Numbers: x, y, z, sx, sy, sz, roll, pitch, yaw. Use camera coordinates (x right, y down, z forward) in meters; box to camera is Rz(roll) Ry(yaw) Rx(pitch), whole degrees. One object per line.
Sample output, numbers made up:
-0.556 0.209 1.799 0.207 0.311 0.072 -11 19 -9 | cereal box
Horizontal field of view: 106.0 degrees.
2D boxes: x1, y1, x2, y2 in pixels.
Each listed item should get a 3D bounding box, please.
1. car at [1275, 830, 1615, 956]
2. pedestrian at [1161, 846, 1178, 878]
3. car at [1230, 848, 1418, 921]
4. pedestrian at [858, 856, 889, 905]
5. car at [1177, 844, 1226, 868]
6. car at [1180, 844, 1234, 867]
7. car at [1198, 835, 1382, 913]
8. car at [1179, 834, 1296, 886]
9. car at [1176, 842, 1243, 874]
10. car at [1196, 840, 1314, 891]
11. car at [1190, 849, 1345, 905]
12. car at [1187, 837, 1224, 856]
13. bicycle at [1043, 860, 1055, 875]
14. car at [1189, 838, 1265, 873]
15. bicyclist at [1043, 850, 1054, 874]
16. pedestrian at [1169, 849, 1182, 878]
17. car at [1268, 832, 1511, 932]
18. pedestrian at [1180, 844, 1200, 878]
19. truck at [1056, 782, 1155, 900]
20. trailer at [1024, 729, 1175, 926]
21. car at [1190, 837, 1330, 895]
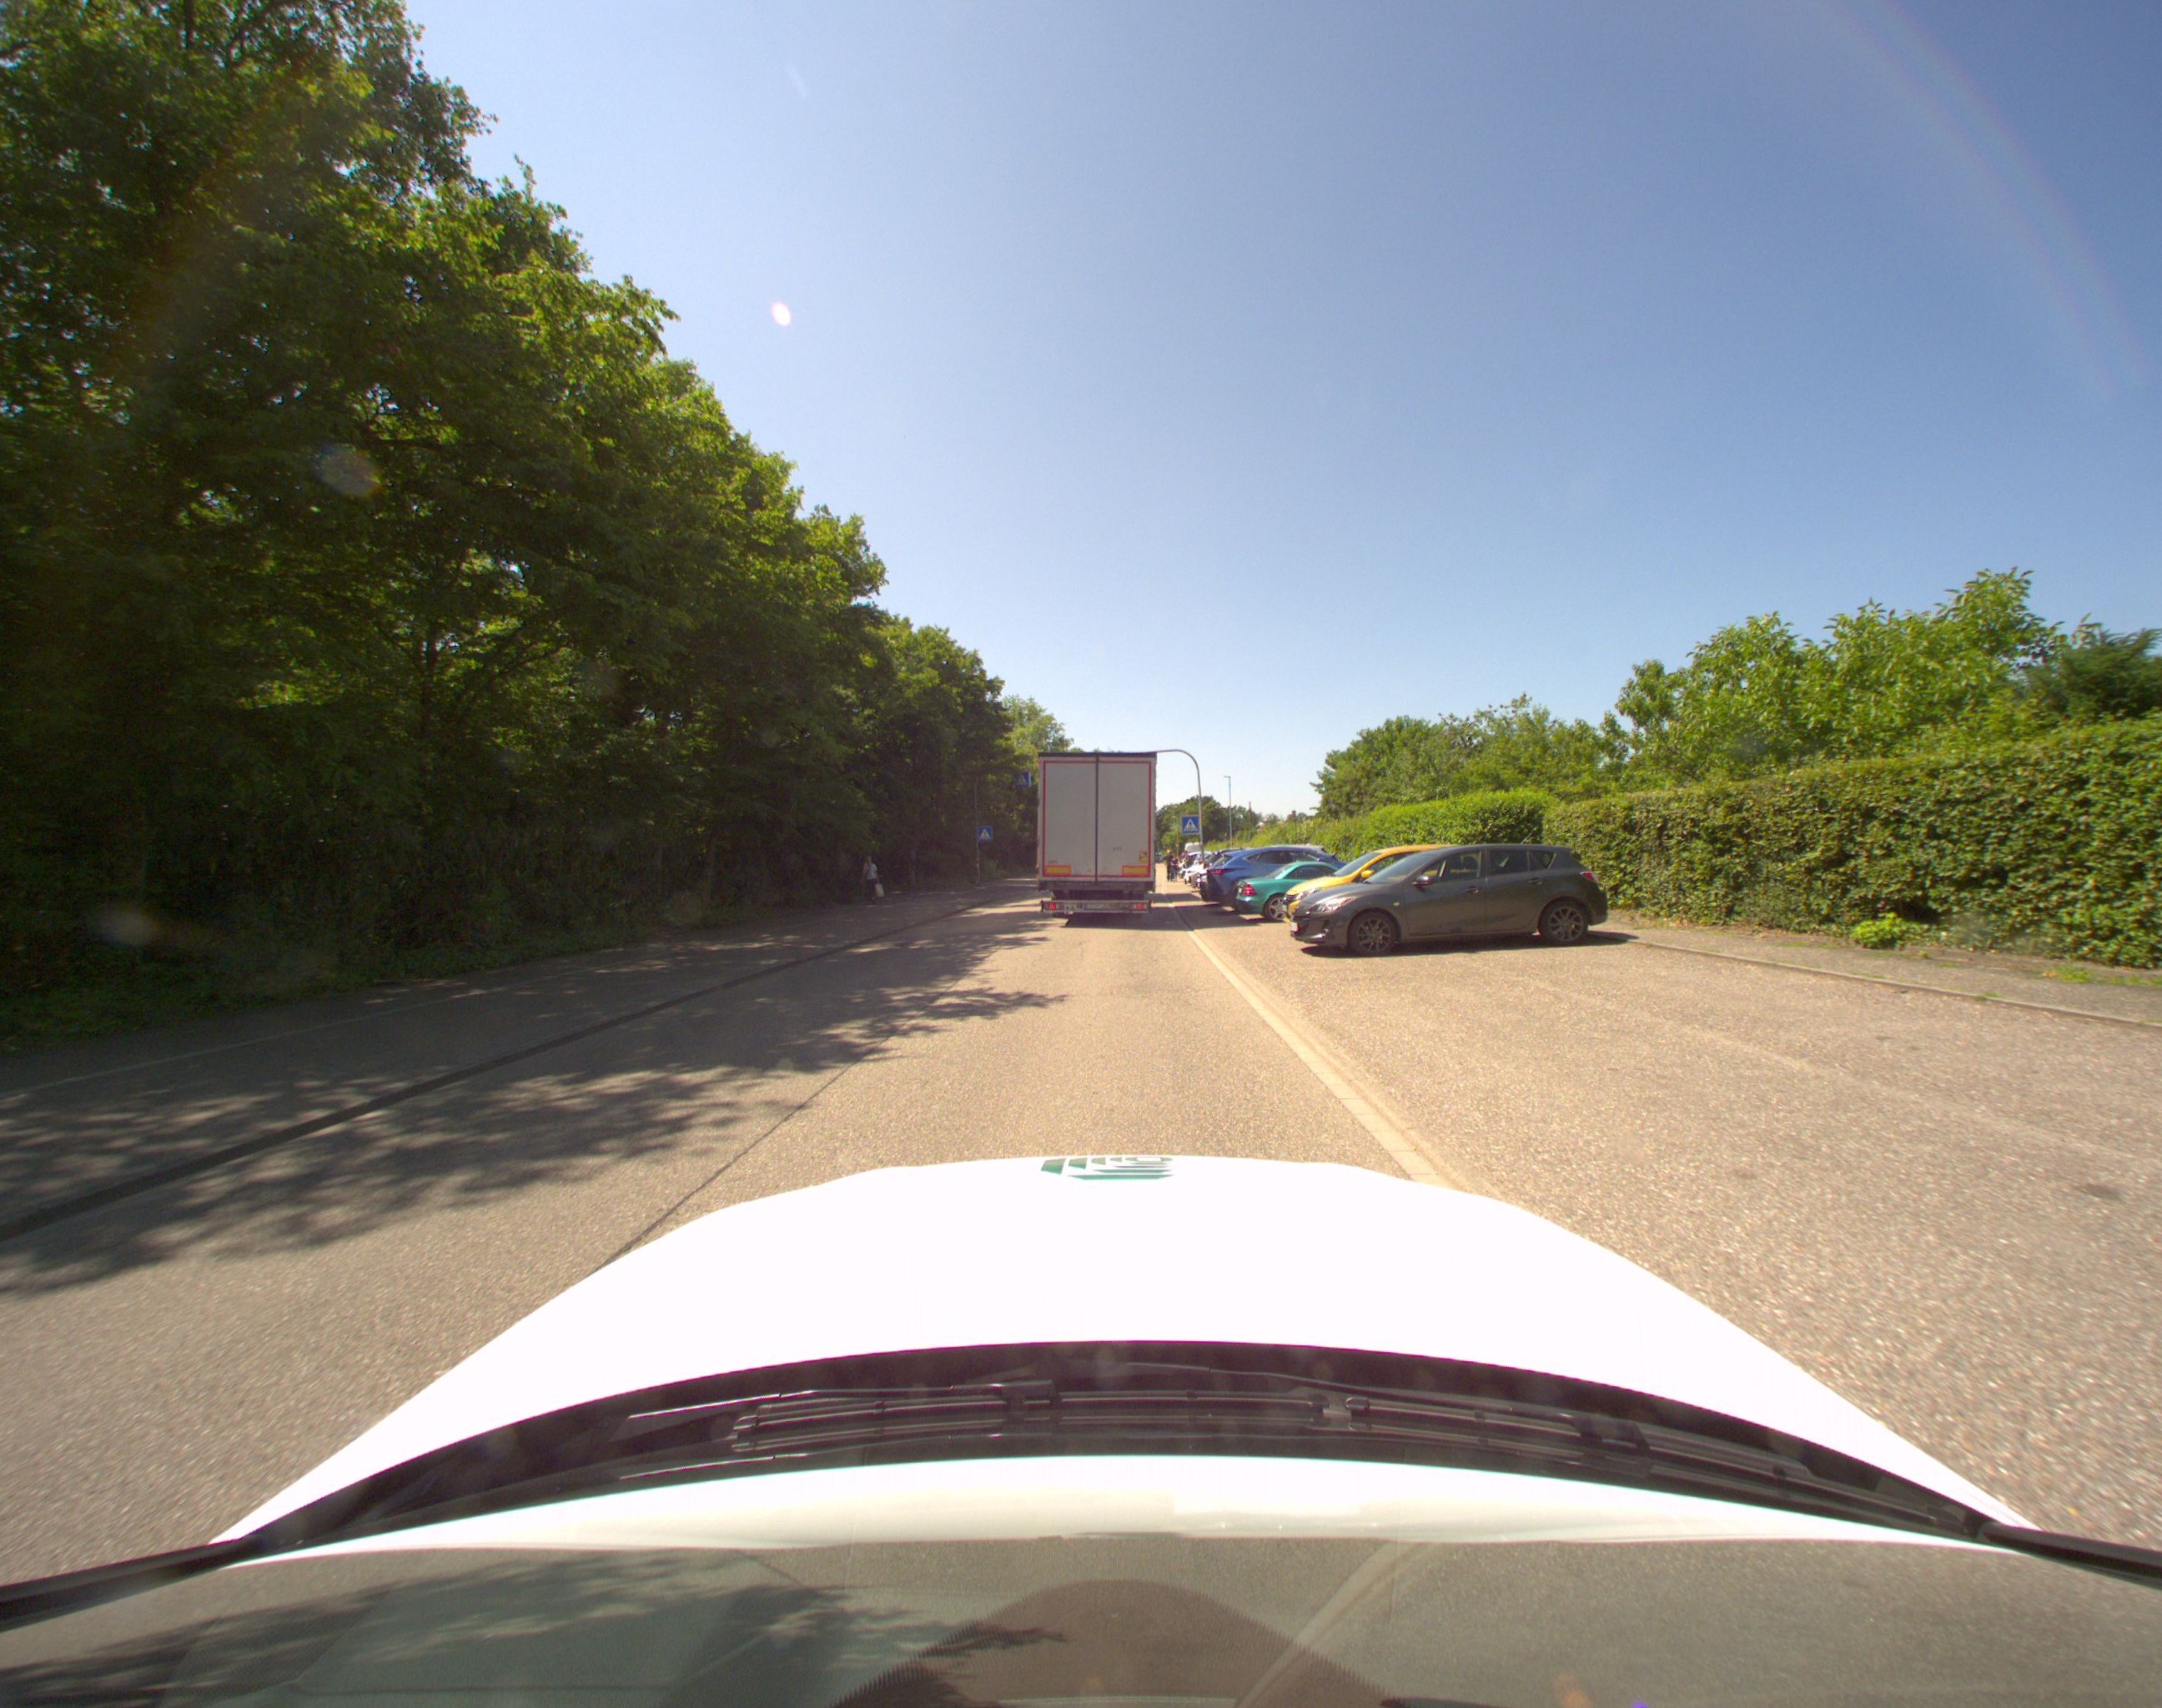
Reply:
5.193 0.538 12.080 4.148 1.495 1.883 -3 -1 2 | car
5.223 0.455 48.125 0.817 1.834 0.794 -5 -1 9 | pedestrian
5.348 0.660 18.276 3.718 1.268 1.629 -5 -1 4 | car
-7.040 0.902 27.675 0.825 1.622 0.783 0 0 1 | pedestrian
10.493 0.166 71.146 3.943 1.765 1.813 -4 0 0 | car
10.077 0.129 65.207 3.943 1.619 1.813 -3 0 0 | car
5.295 0.498 21.059 4.222 1.634 1.824 -4 0 2 | car
6.403 0.257 33.760 4.389 1.698 1.877 -5 -1 1 | car
8.265 0.225 52.780 3.946 1.668 1.813 -4 2 -2 | car
6.591 0.409 31.126 4.107 1.657 1.888 -3 0 3 | car
5.464 0.645 24.170 4.124 1.439 1.811 -2 0 -5 | car
14.024 -0.834 91.760 3.936 1.798 1.816 -5 -3 6 | car
-2.376 0.980 60.954 0.451 1.047 2.208 -1 0 8 | bicycle
8.394 0.088 46.972 3.946 1.668 1.812 -5 -1 -2 | car
-2.418 0.608 60.686 0.713 1.758 0.797 -1 0 7 | bicyclist
5.492 0.546 47.198 0.586 1.615 0.746 -5 -1 9 | pedestrian
5.596 0.505 15.159 3.787 1.455 1.775 -5 -1 2 | car
6.112 0.378 45.615 0.902 1.798 0.937 -5 -1 9 | pedestrian
0.998 -0.446 29.577 3.100 3.725 6.420 -2 0 3 | truck
0.666 -0.620 23.118 3.100 4.102 11.544 -2 0 3 | trailer
5.873 0.404 27.110 4.220 1.654 1.900 -3 -2 1 | car
